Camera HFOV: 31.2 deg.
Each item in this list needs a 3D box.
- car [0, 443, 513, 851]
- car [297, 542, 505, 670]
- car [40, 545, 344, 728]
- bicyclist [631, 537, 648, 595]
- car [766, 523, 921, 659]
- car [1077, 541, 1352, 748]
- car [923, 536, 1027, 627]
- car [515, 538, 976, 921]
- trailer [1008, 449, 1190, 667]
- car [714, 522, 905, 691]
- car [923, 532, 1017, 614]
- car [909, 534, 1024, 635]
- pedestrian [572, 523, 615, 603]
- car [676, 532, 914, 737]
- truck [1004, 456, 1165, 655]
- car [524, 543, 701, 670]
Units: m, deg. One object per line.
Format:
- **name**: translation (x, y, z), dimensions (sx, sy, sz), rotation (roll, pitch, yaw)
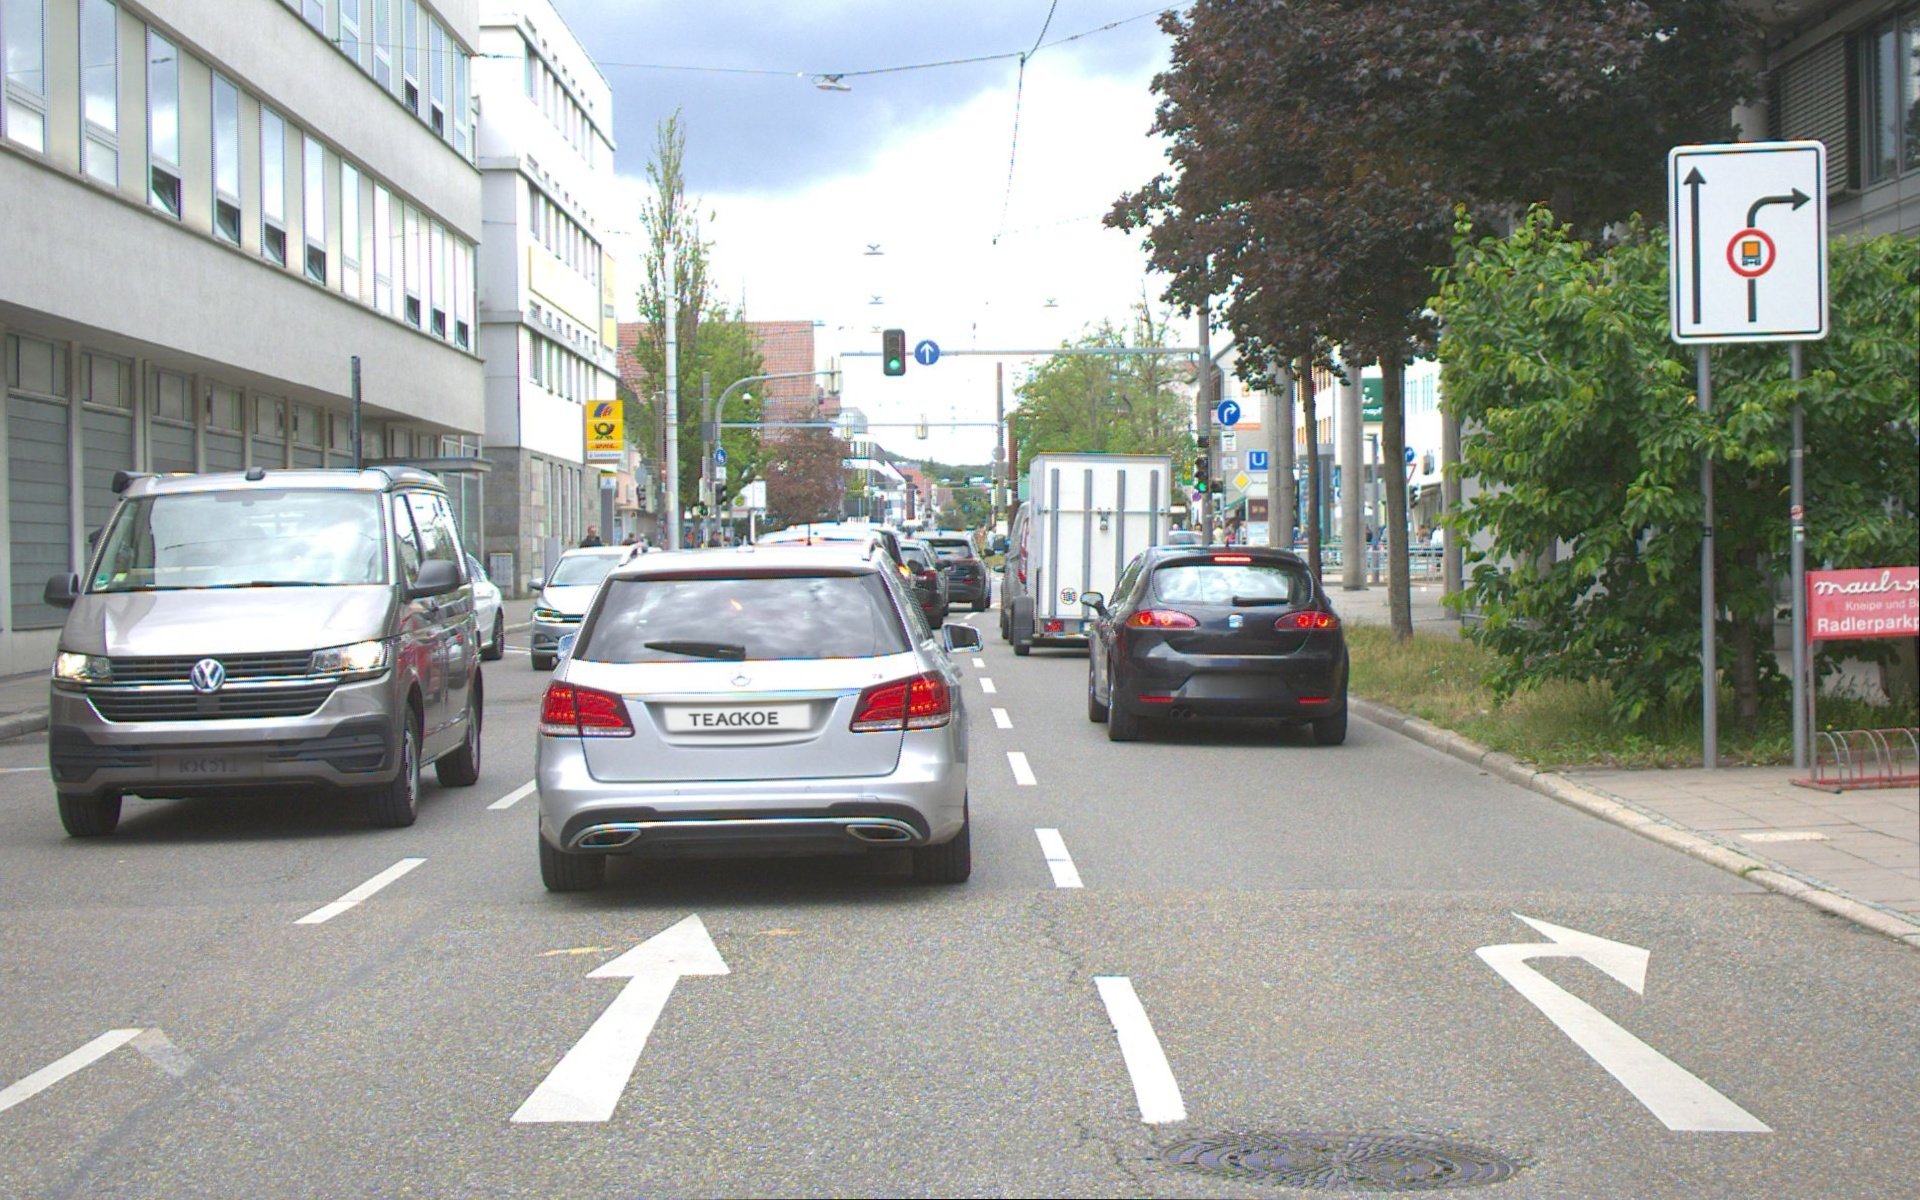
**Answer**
- **car**: translation (-3.895, 0.190, 19.890), dimensions (1.993, 2.007, 4.903), rotation (-2, 1, -1)
- **car**: translation (-7.005, 0.037, 43.469), dimensions (1.993, 1.511, 4.175), rotation (-1, 1, -1)
- **car**: translation (-7.067, 0.285, 32.067), dimensions (1.912, 1.511, 4.175), rotation (-2, 1, -1)
- **bicyclist**: translation (-9.344, -0.999, 100.257), dimensions (0.445, 1.691, 0.555), rotation (1, 1, -1)
- **car**: translation (-1.402, -0.142, 42.302), dimensions (1.803, 1.596, 3.738), rotation (0, 1, -1)
- **car**: translation (1.862, 0.279, 26.178), dimensions (1.765, 1.428, 3.829), rotation (-1, 1, -1)
- **car**: translation (0.243, -0.357, 63.001), dimensions (1.803, 1.596, 3.738), rotation (0, 1, -1)
- **car**: translation (-0.878, 0.478, 15.461), dimensions (1.803, 1.487, 3.738), rotation (-1, 1, -1)
- **trailer**: translation (1.711, -0.559, 44.127), dimensions (1.993, 2.598, 5.350), rotation (-1, 1, -1)
- **car**: translation (-1.465, 0.025, 34.533), dimensions (1.803, 1.596, 3.738), rotation (0, 1, -1)
- **car**: translation (0.180, -0.566, 69.254), dimensions (1.803, 1.596, 3.738), rotation (0, 1, -1)
- **car**: translation (0.078, -0.282, 56.482), dimensions (1.803, 1.596, 3.738), rotation (0, 1, -1)
- **pedestrian**: translation (-8.621, -0.880, 80.823), dimensions (0.918, 1.862, 0.783), rotation (-1, 1, -1)
- **car**: translation (-1.293, 0.227, 28.169), dimensions (1.803, 1.547, 3.738), rotation (-1, 1, -1)
- **truck**: translation (1.656, -0.622, 46.925), dimensions (1.993, 2.598, 3.260), rotation (-1, 1, -1)
- **car**: translation (-4.212, 0.040, 42.180), dimensions (1.769, 1.408, 4.175), rotation (-2, 1, -1)
